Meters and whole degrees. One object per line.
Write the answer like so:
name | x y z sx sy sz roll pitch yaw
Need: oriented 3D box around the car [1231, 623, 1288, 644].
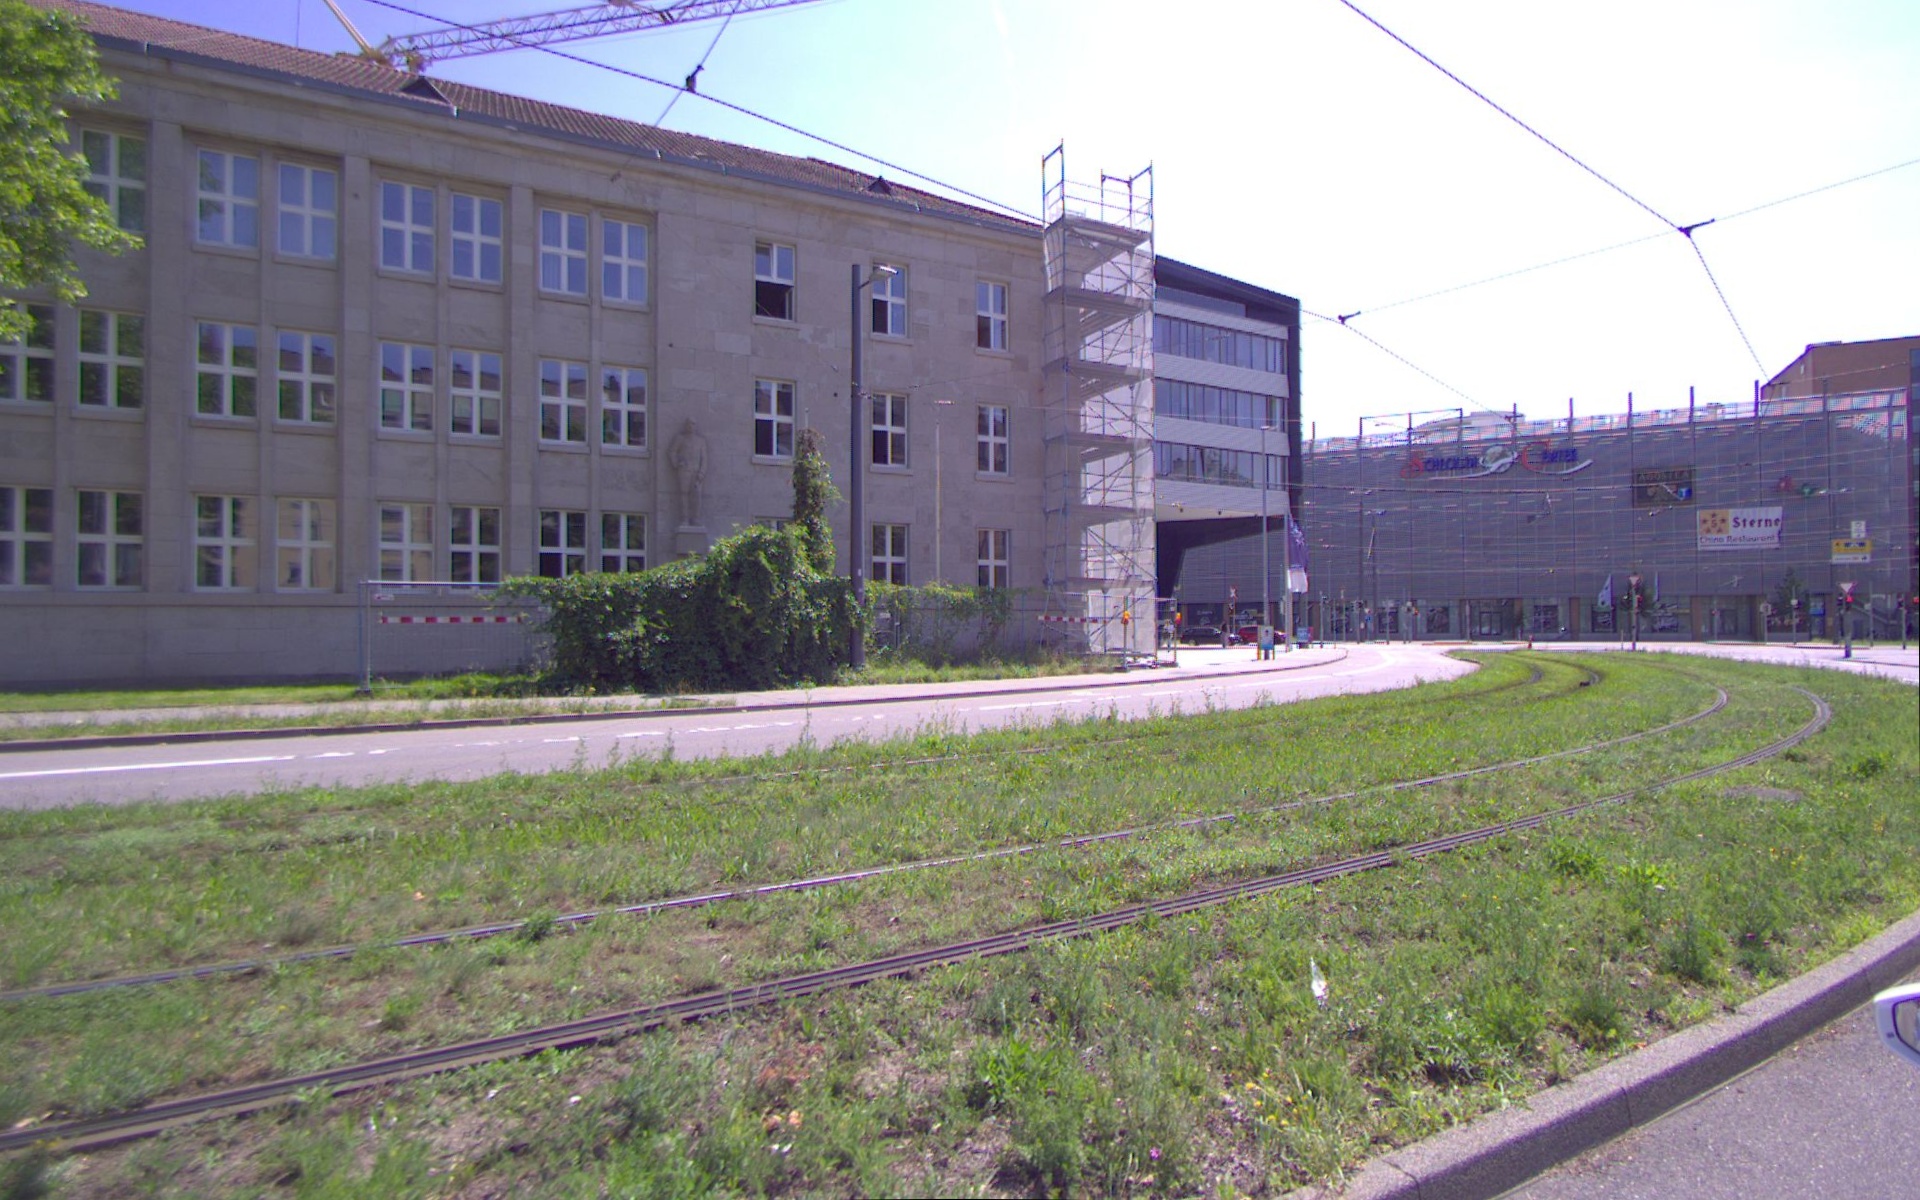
car | 23.001 2.570 77.197 4.059 1.528 1.842 0 -1 22

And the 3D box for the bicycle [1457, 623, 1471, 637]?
bicycle | 52.109 3.069 103.814 1.047 1.409 3.016 0 -1 32

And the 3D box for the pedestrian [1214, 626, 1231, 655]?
pedestrian | 14.855 2.280 56.902 0.734 1.652 0.915 0 0 1

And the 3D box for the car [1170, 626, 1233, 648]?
car | 18.227 2.777 75.728 4.451 1.528 1.842 -1 -1 19

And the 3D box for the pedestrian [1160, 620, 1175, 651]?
pedestrian | 10.320 1.779 49.974 0.579 1.539 0.579 0 0 -13

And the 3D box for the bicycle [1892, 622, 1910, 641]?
bicycle | 87.562 2.904 93.504 0.589 1.754 2.257 0 -1 27

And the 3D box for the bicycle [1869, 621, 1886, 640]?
bicycle | 86.372 2.862 94.598 0.589 1.754 2.257 0 -1 27
